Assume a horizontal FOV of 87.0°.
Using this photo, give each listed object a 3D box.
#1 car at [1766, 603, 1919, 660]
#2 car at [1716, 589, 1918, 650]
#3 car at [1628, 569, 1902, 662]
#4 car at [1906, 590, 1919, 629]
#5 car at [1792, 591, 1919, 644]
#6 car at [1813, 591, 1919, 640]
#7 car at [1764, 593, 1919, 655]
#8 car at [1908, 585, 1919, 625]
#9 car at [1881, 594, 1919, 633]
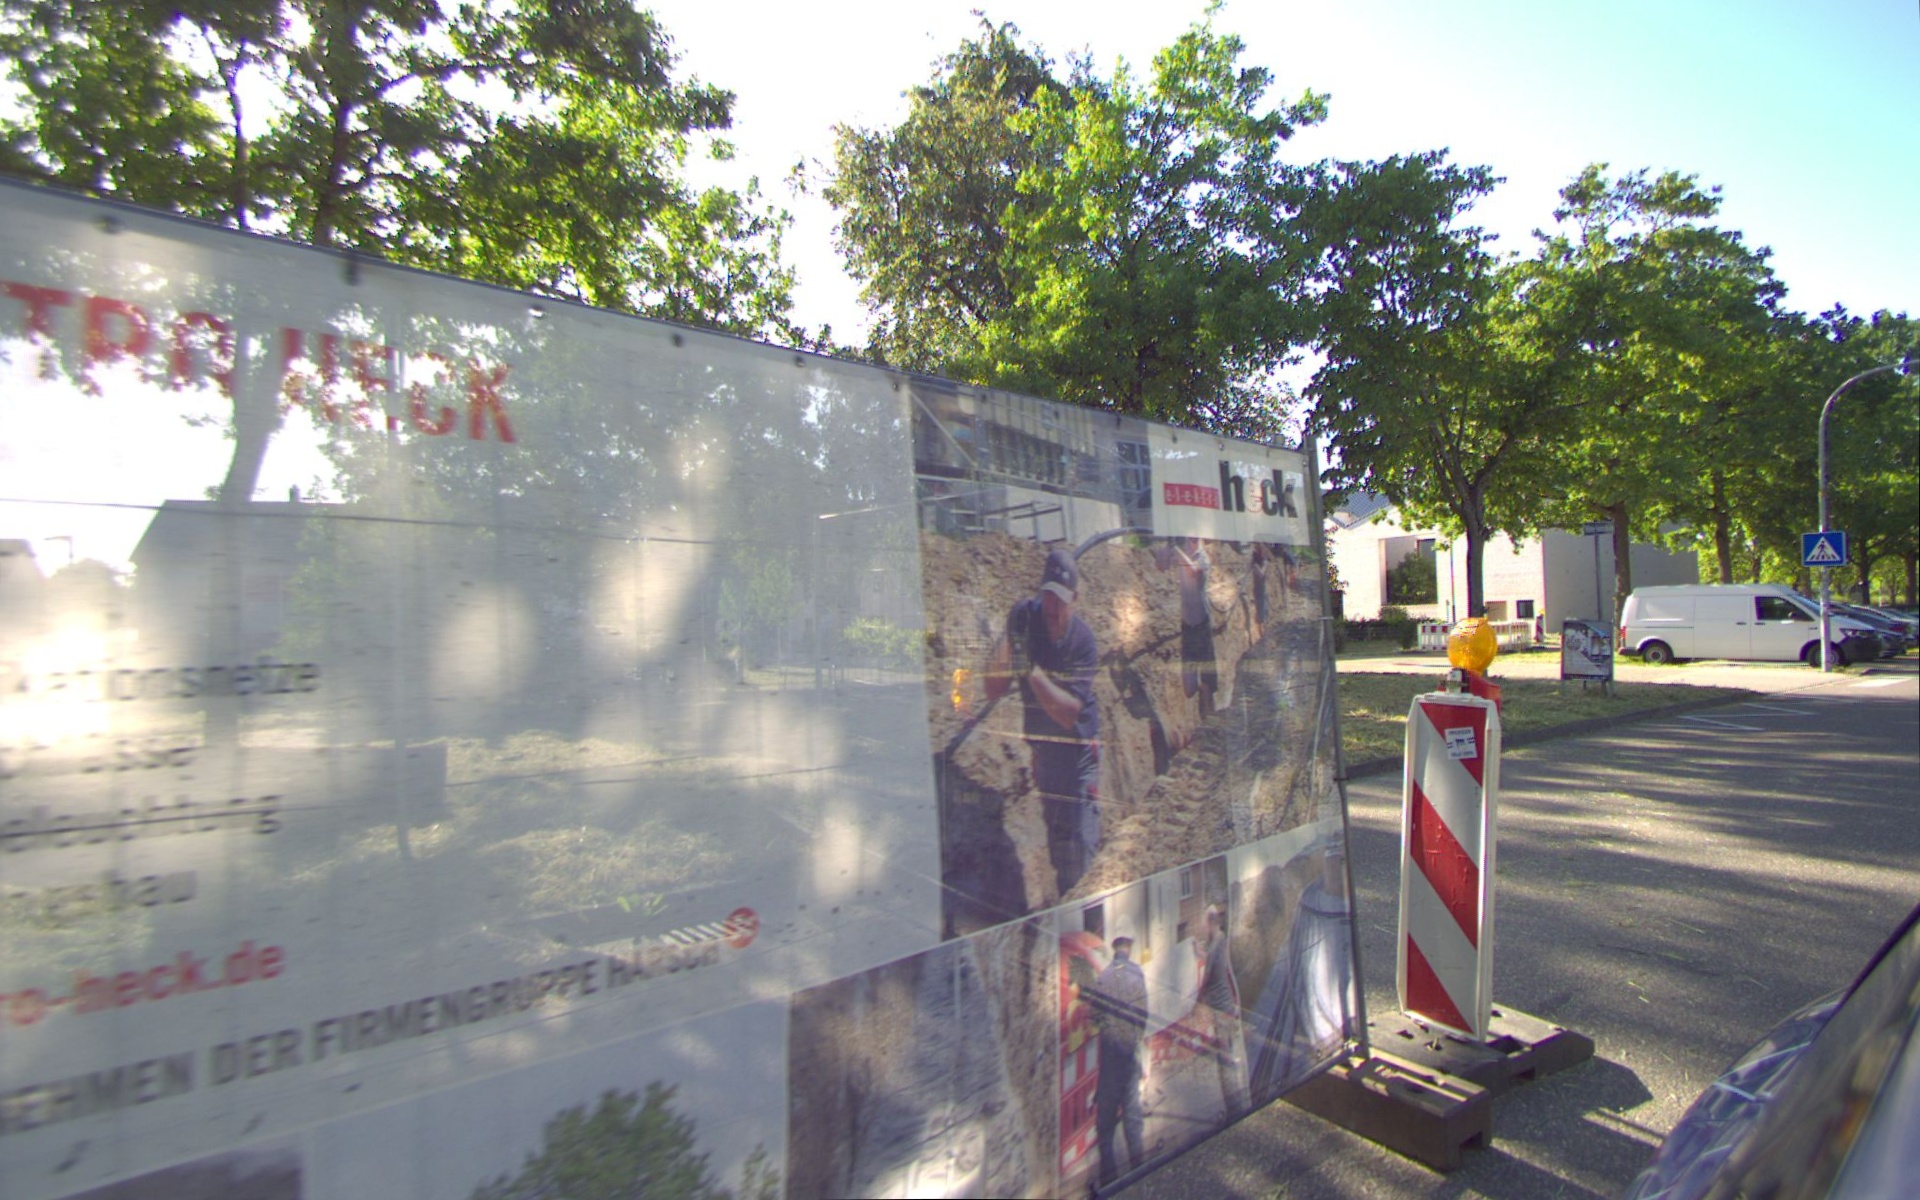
[{"bbox_3d":[26.094,0.935,29.689,1.421,1.562,3.517,0,-2,-35],"label":"car"},{"bbox_3d":[24.080,0.578,28.560,1.724,1.583,3.998,0,-2,-35],"label":"car"},{"bbox_3d":[19.969,0.397,25.349,1.856,2.108,5.045,0,-1,-37],"label":"car"},{"bbox_3d":[45.469,0.333,45.217,1.504,1.766,4.396,0,-2,-35],"label":"car"},{"bbox_3d":[31.218,0.621,34.544,1.504,1.701,4.020,0,-2,-35],"label":"car"},{"bbox_3d":[33.509,0.566,36.413,1.504,1.681,4.020,0,-2,-35],"label":"car"},{"bbox_3d":[27.848,0.772,31.524,1.680,1.817,4.020,0,-2,-35],"label":"car"},{"bbox_3d":[50.579,0.169,50.541,1.504,2.014,4.396,0,-2,-35],"label":"car"},{"bbox_3d":[42.907,0.513,43.671,1.504,1.663,4.396,0,-2,-35],"label":"car"}]
